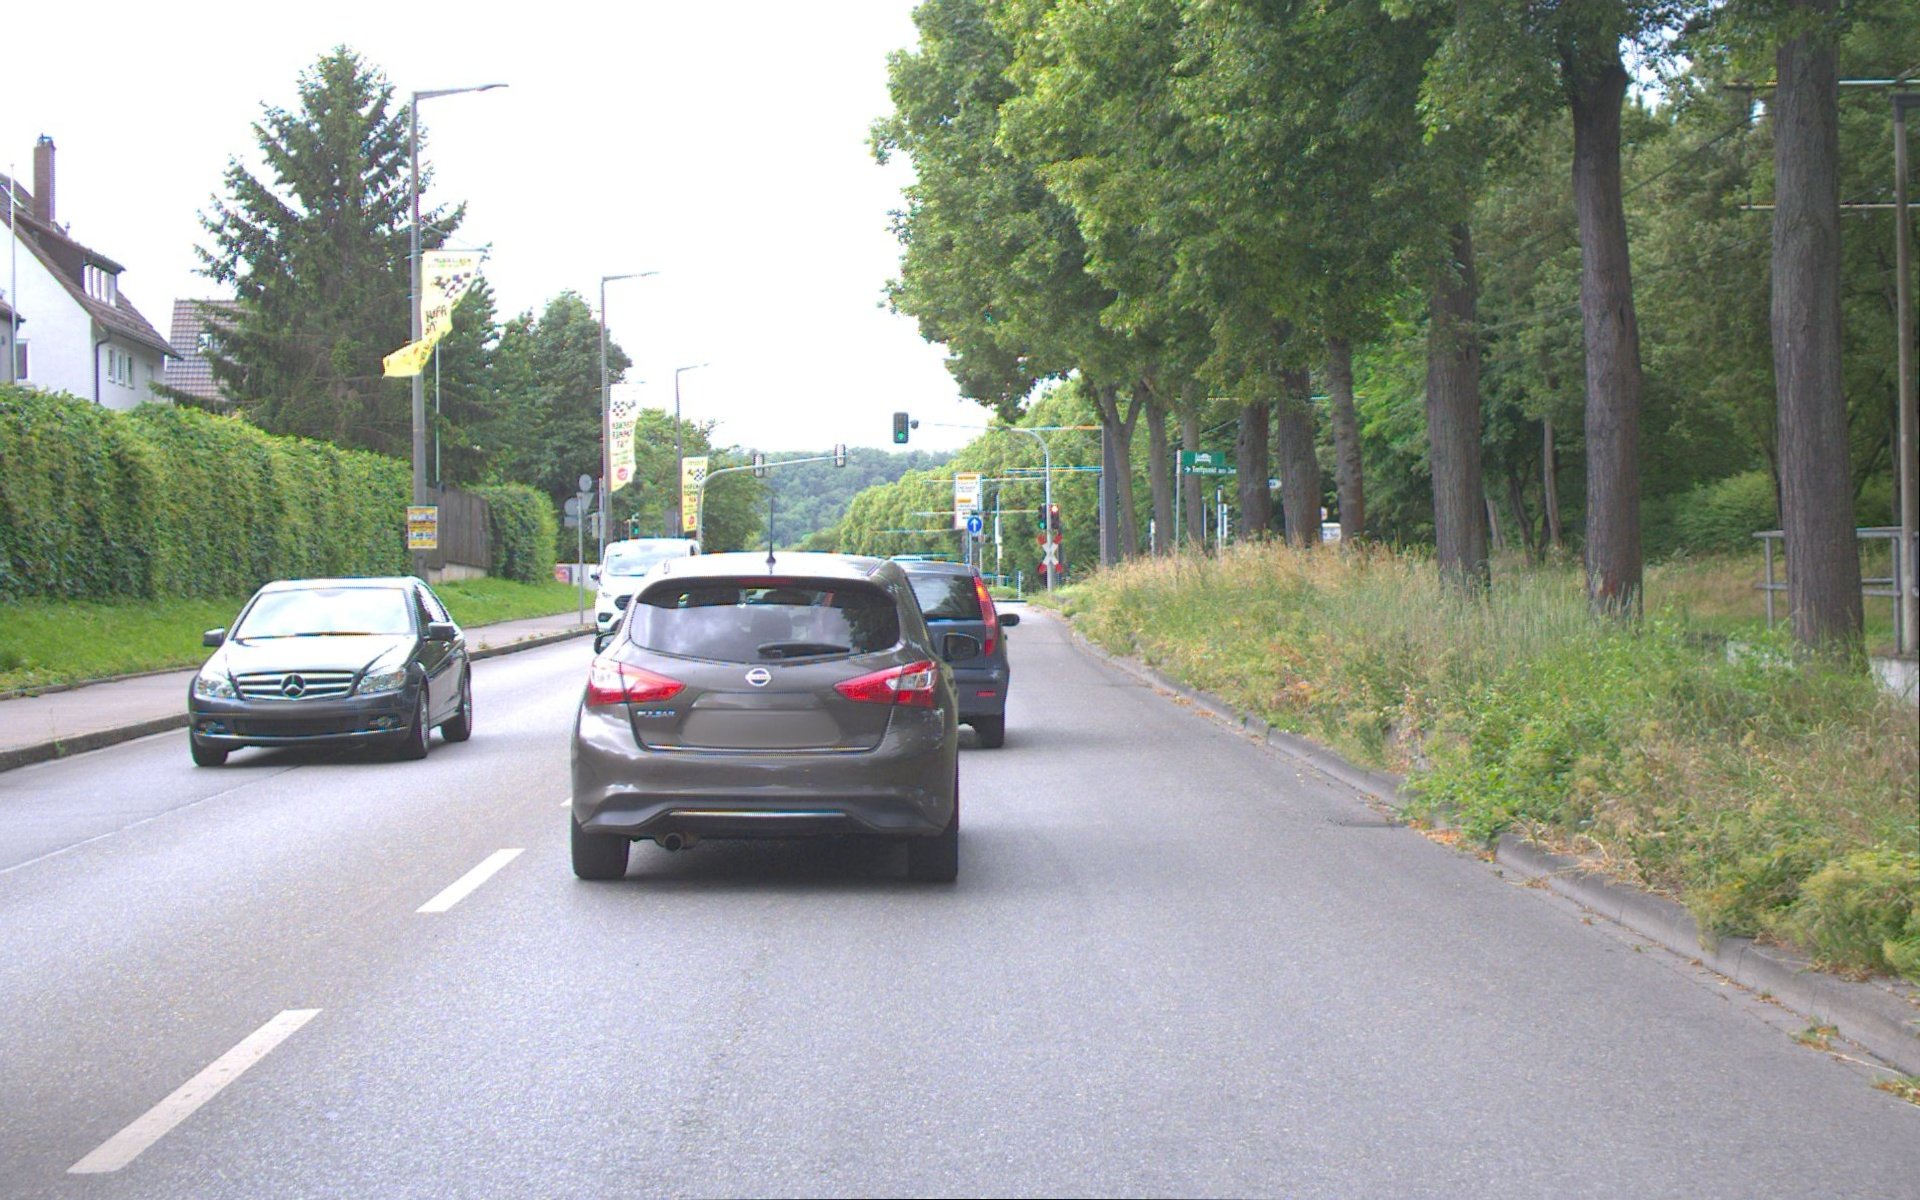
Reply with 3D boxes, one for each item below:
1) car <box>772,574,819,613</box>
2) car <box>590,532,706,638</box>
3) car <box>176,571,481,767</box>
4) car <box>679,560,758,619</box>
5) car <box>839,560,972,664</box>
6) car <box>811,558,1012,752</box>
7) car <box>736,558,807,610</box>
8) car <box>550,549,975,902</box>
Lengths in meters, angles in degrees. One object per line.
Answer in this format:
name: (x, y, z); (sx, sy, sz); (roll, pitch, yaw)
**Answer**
car: (-6.533, -0.275, 136.646); (1.728, 1.459, 4.154); (-2, 1, -1)
car: (-6.037, -0.326, 67.038); (1.906, 1.925, 4.912); (-1, 1, -2)
car: (-4.978, 0.490, 27.627); (1.732, 1.370, 4.240); (-2, 1, -1)
car: (-5.892, -0.285, 84.328); (1.650, 1.343, 4.478); (-2, 1, -1)
car: (-0.769, 0.138, 48.788); (1.792, 1.392, 4.000); (-1, 1, -1)
car: (-0.394, 0.403, 28.405); (1.538, 1.473, 3.764); (-1, 1, -1)
car: (-5.302, -0.478, 97.147); (1.886, 1.378, 4.491); (-2, 1, -2)
car: (-0.884, 0.516, 17.234); (1.835, 1.514, 4.483); (-1, 1, -1)
